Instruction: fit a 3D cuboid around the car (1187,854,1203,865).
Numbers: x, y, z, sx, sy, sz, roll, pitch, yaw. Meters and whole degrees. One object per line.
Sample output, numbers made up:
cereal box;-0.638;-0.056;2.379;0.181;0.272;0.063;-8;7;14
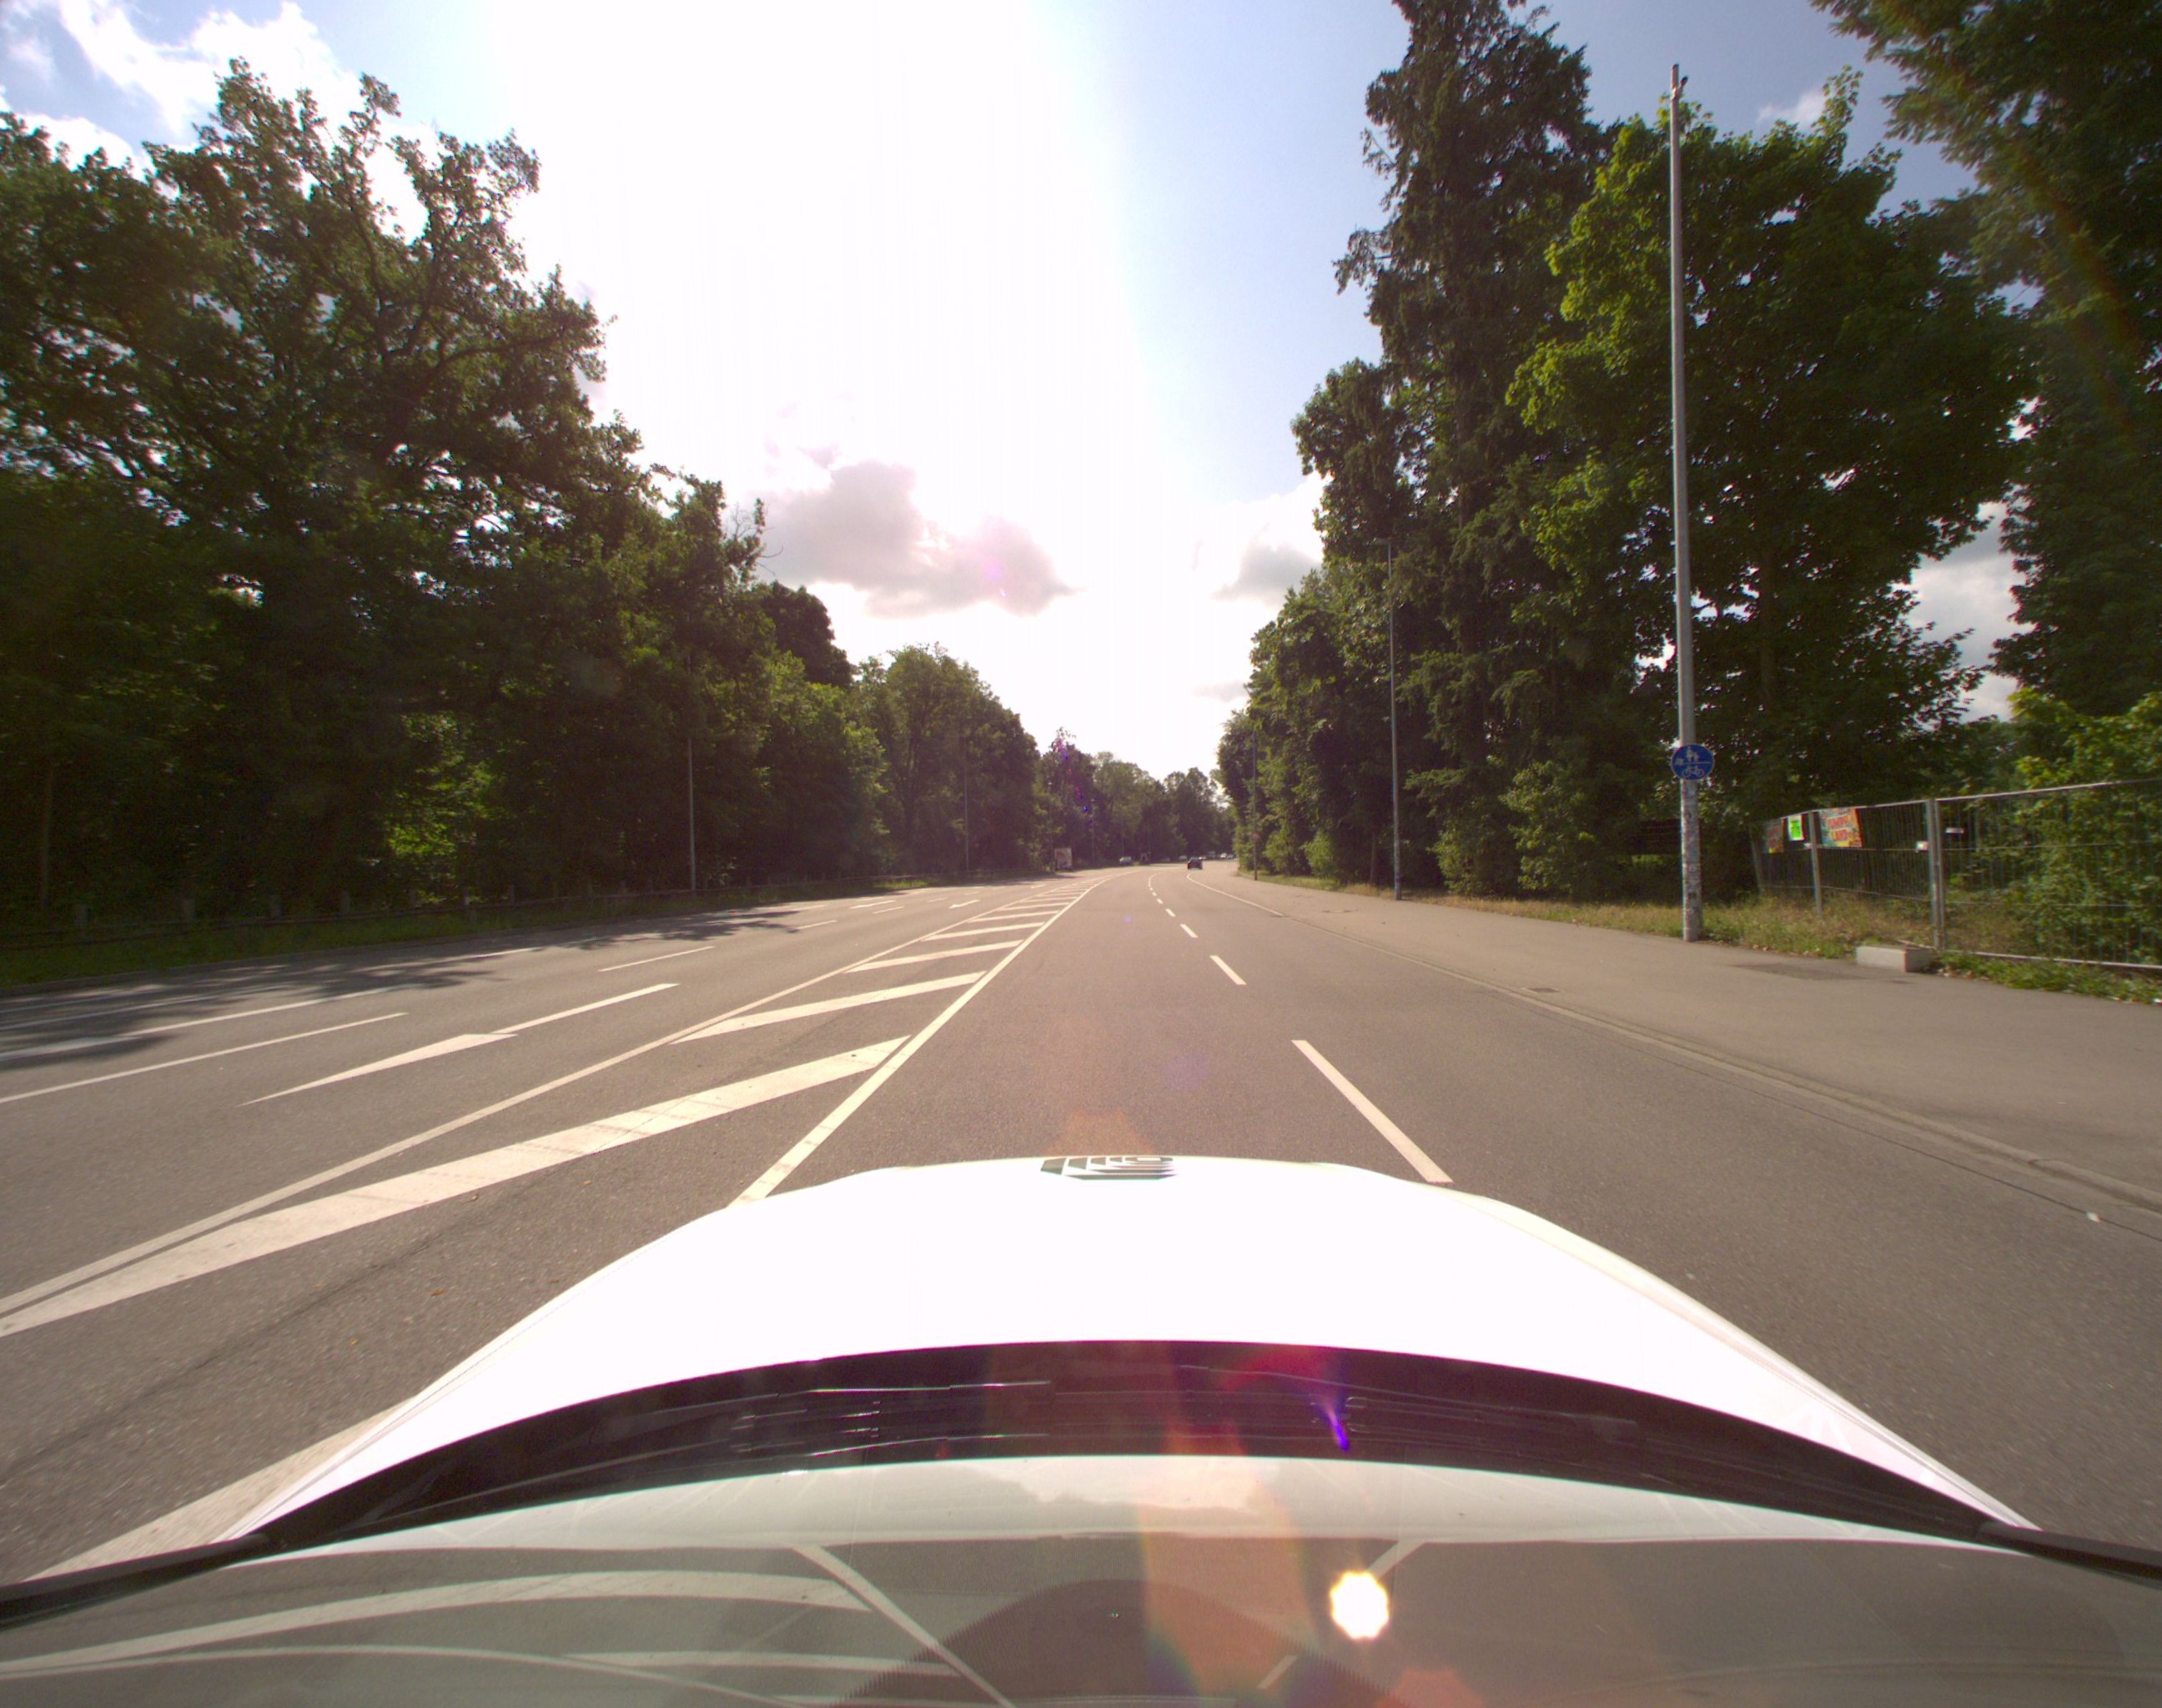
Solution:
car;15.173;0.727;108.154;1.586;1.378;3.991;0;0;14

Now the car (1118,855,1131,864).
car;7.164;0.889;133.947;1.493;1.446;3.542;0;0;14

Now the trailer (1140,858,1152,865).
trailer;12.563;1.508;156.262;1.704;1.355;3.746;0;0;13

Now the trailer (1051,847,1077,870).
trailer;-1.758;0.492;85.875;1.982;2.389;4.010;0;-1;9

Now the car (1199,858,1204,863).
car;33.044;1.711;223.721;1.495;1.446;3.537;0;0;8
